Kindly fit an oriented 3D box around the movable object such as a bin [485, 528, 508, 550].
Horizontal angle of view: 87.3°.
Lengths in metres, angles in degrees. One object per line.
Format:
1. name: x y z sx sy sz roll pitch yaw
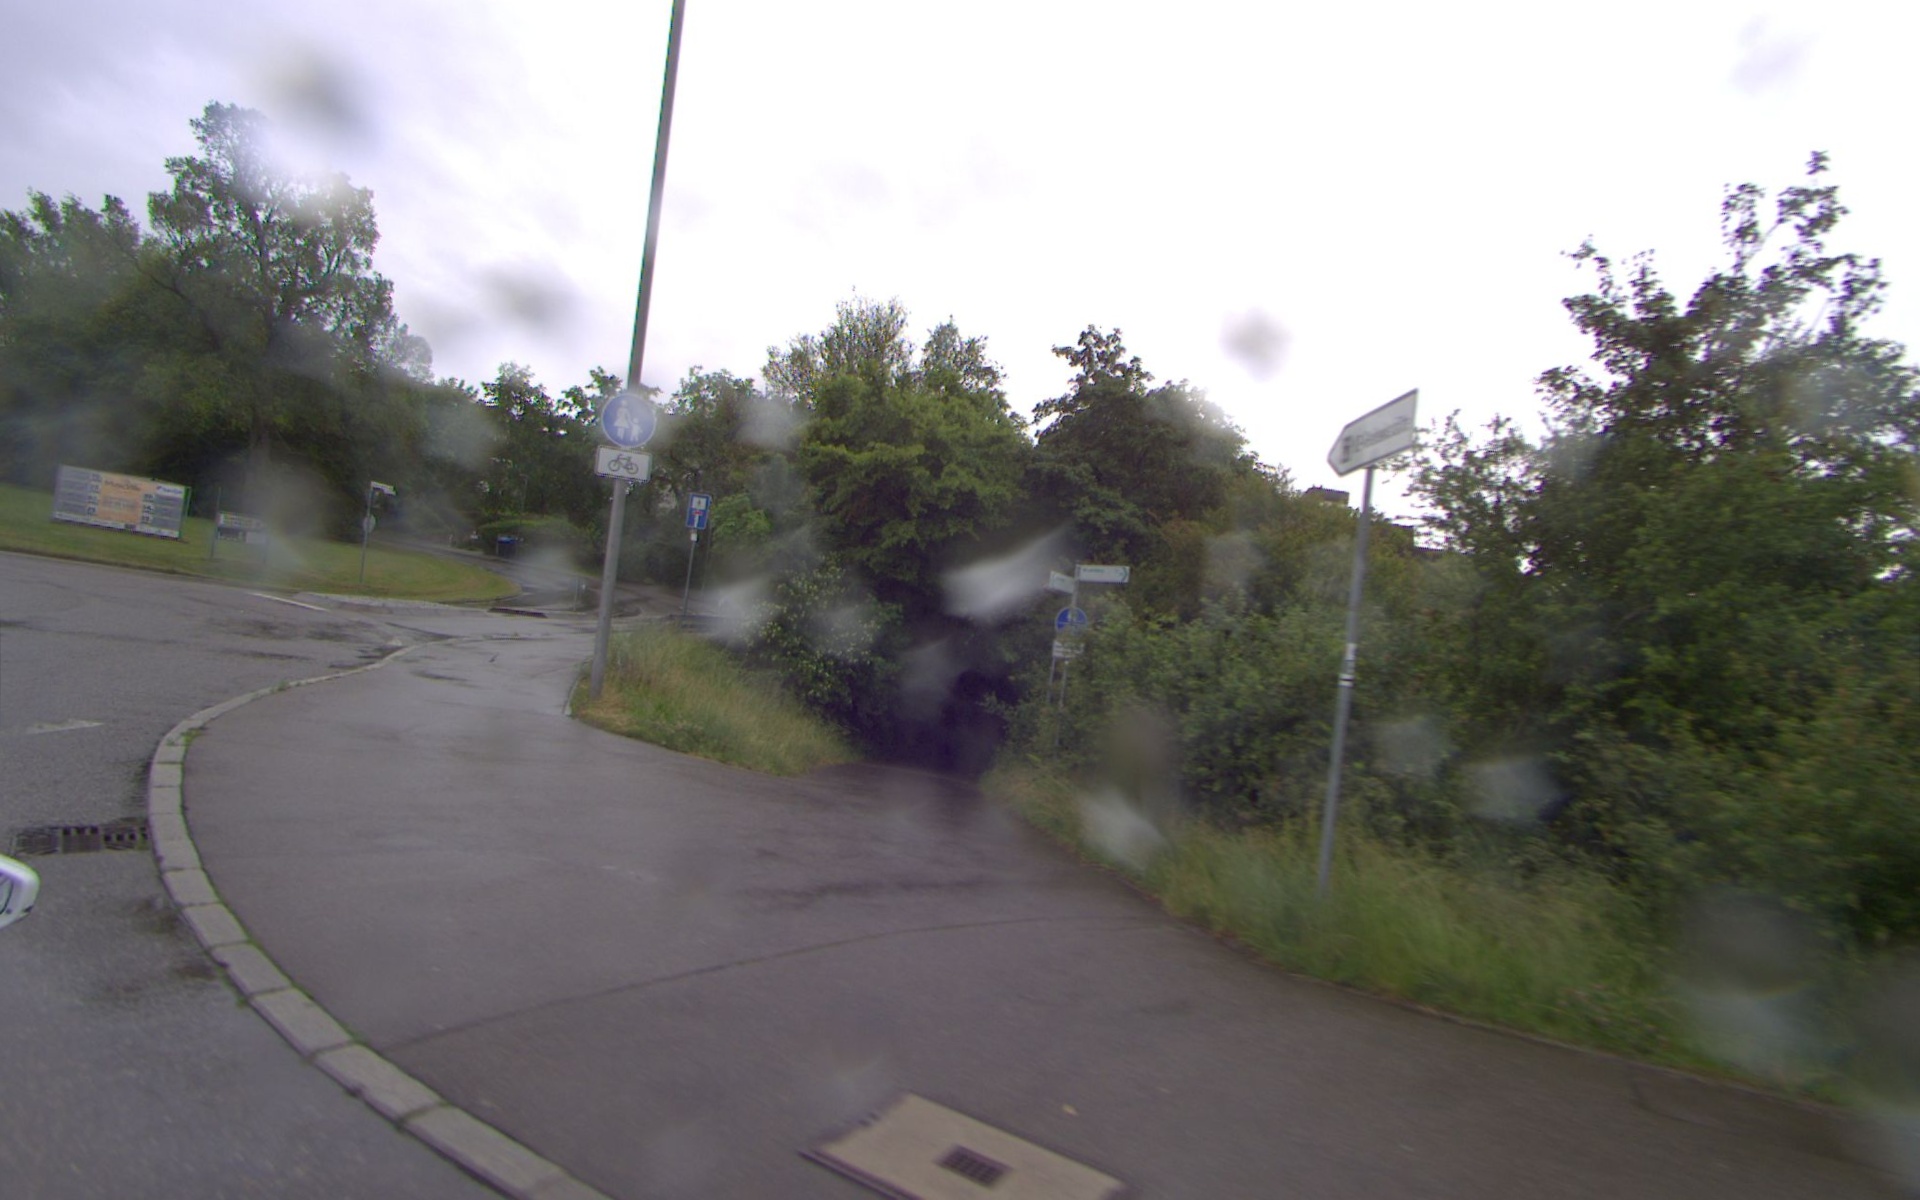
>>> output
1. movable object such as a bin: -34.873 -4.578 75.665 1.188 1.454 1.413 8 0 -37
